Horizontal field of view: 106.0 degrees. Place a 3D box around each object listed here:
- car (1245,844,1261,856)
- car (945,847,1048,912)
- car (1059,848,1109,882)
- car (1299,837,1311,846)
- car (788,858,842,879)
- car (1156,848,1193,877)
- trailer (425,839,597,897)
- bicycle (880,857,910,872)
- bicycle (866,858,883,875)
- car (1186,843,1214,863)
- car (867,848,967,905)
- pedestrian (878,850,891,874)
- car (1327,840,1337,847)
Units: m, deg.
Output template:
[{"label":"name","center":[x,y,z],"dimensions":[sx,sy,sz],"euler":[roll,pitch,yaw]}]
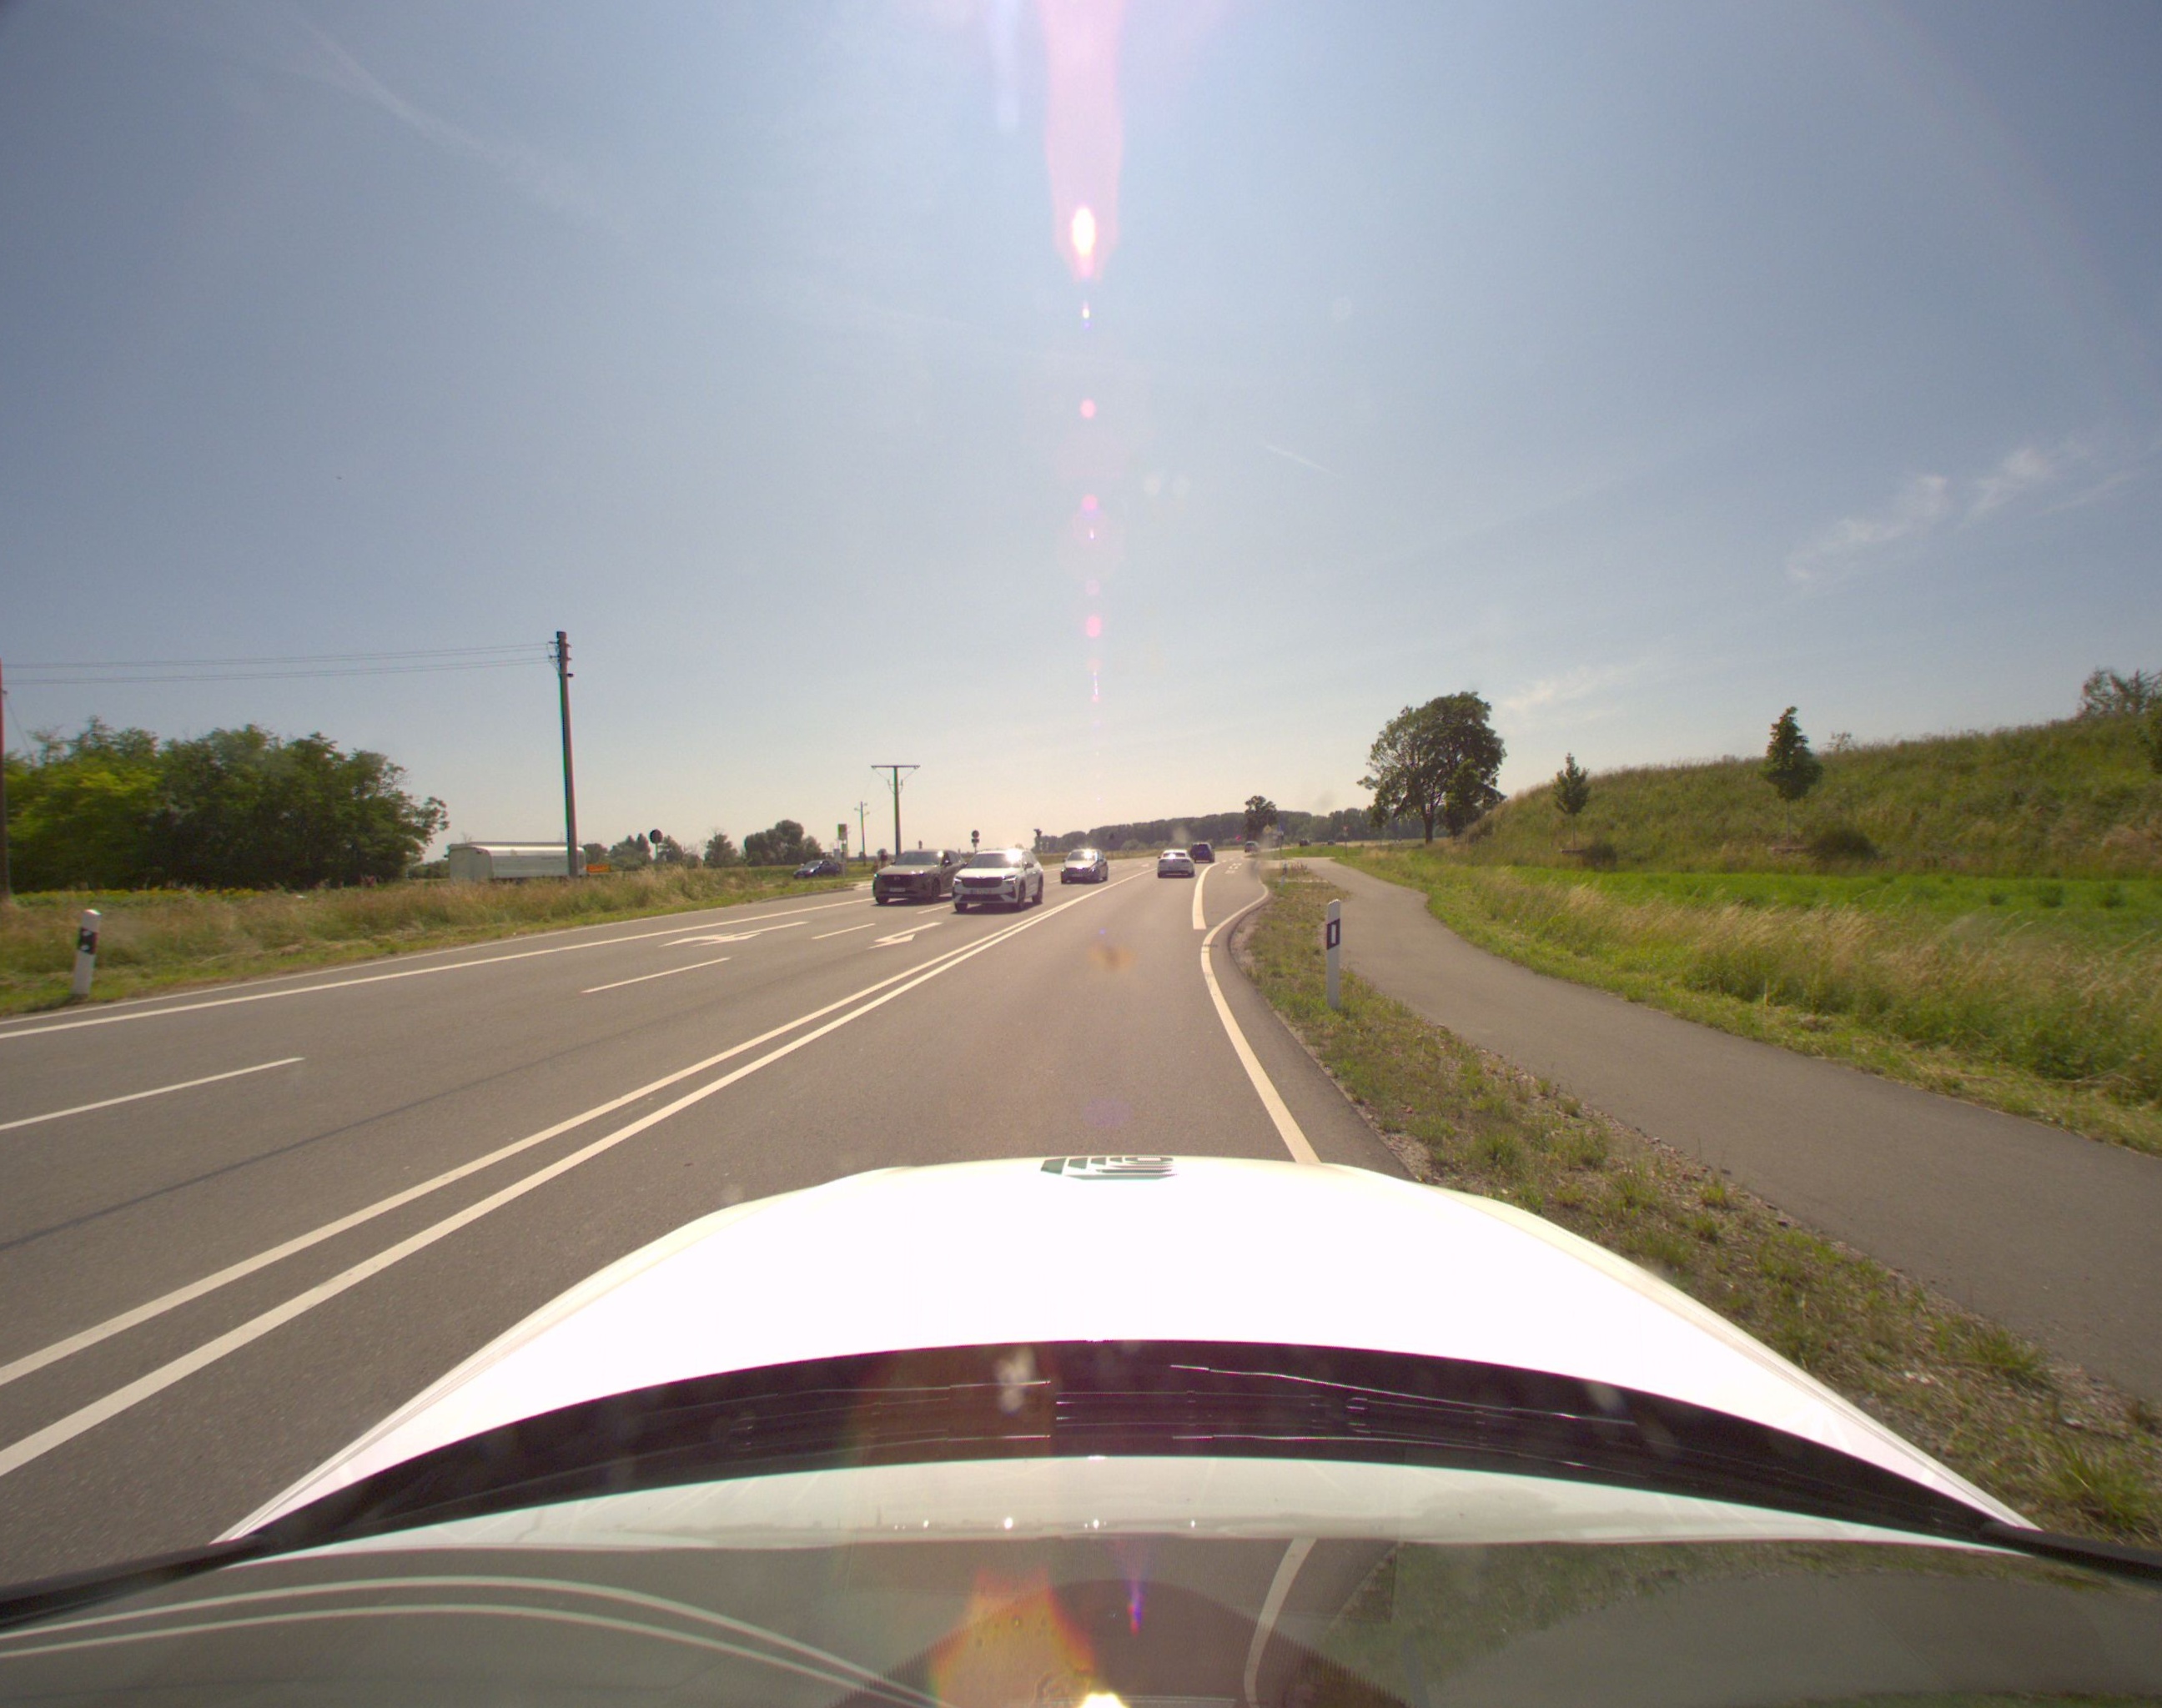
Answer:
[{"label":"car","center":[22.972,-0.553,108.715],"dimensions":[1.786,1.429,4.109],"euler":[-4,-2,15]},{"label":"car","center":[-2.280,0.660,23.453],"dimensions":[1.868,1.650,4.853],"euler":[-1,0,7]},{"label":"car","center":[0.204,0.485,39.187],"dimensions":[1.722,1.555,4.391],"euler":[-1,0,9]},{"label":"car","center":[43.730,-2.413,159.027],"dimensions":[1.784,1.476,4.437],"euler":[-4,-2,21]},{"label":"car","center":[-18.488,1.017,56.692],"dimensions":[1.661,1.387,3.855],"euler":[-1,0,16]},{"label":"car","center":[5.077,0.444,43.765],"dimensions":[1.837,1.433,4.618],"euler":[-1,-1,8]},{"label":"trailer","center":[-26.380,0.560,38.113],"dimensions":[2.659,2.456,6.405],"euler":[-1,0,12]},{"label":"bicycle","center":[-18.212,1.026,79.780],"dimensions":[2.603,1.372,0.901],"euler":[-3,-2,-4]},{"label":"bicycle","center":[-15.588,0.913,61.585],"dimensions":[0.487,1.248,1.517],"euler":[-1,-1,17]},{"label":"car","center":[10.042,-0.086,68.581],"dimensions":[1.921,1.616,4.393],"euler":[0,-1,13]},{"label":"car","center":[-5.252,0.664,26.714],"dimensions":[1.953,1.650,4.795],"euler":[-2,0,4]},{"label":"pedestrian","center":[-14.924,0.633,61.822],"dimensions":[0.604,1.785,0.850],"euler":[-1,-1,18]},{"label":"car","center":[61.947,-2.613,200.899],"dimensions":[1.783,1.521,3.905],"euler":[0,2,24]}]
